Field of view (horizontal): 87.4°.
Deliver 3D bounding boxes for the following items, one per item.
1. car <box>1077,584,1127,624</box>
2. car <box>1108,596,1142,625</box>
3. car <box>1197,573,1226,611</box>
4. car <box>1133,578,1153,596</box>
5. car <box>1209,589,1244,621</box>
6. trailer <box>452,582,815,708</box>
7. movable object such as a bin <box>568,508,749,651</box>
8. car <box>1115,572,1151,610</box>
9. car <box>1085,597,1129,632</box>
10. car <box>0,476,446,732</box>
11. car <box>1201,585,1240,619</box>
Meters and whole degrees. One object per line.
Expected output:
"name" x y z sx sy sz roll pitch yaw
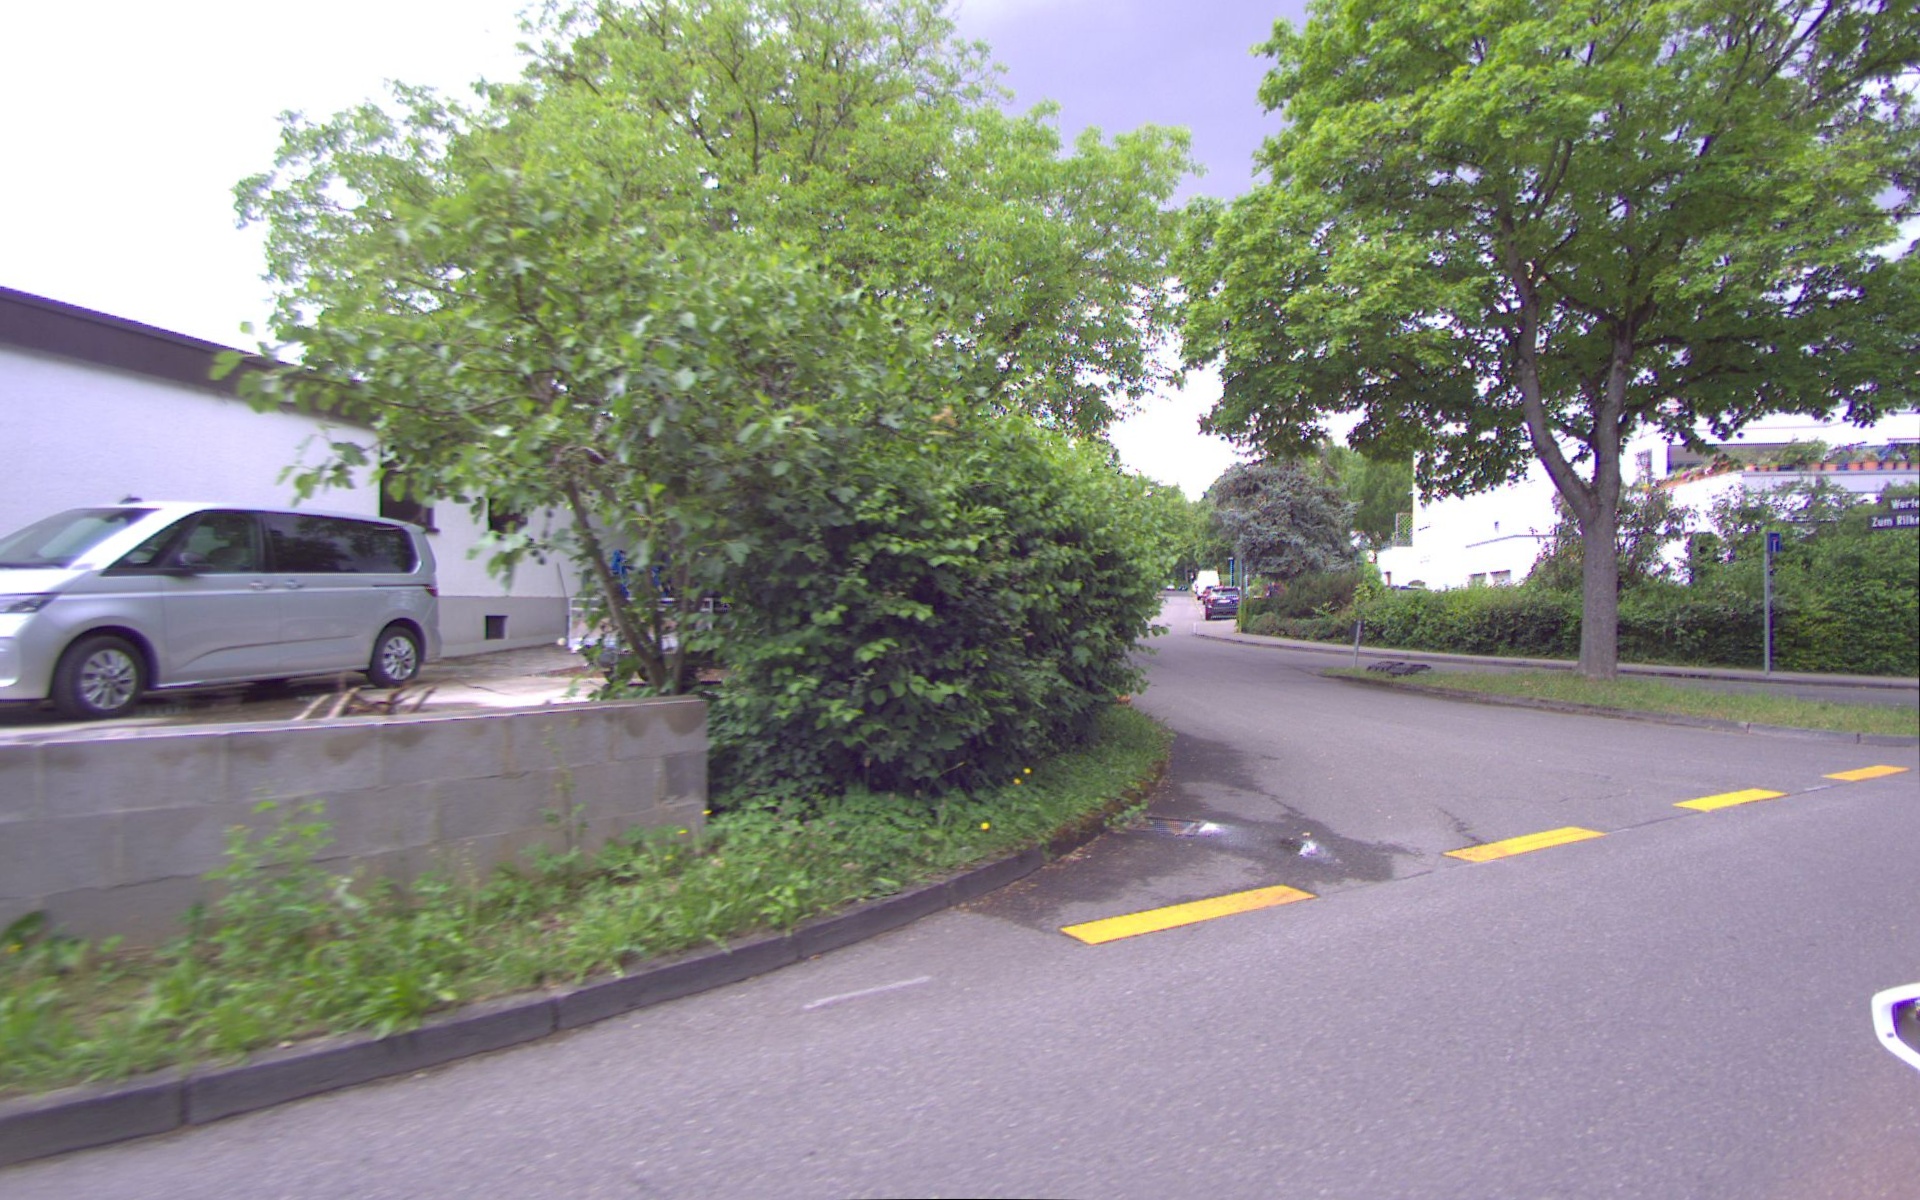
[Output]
"car" 6.746 0.219 47.351 1.724 1.739 4.002 1 -2 16
"car" 11.002 0.734 66.941 1.724 1.739 4.002 1 -2 16
"car" 22.725 -0.668 90.939 2.403 3.038 6.877 1 -2 14
"car" 19.912 -1.379 108.974 1.724 1.739 4.002 1 -2 16
"car" 14.367 0.297 54.205 1.724 1.574 4.003 1 -2 14
"trailer" -3.219 0.388 10.867 1.959 1.061 4.002 1 0 13
"movable object such as a bin" -5.237 -0.395 17.796 1.959 2.312 2.784 1 2 12
"car" 12.712 -0.612 73.605 1.991 2.473 4.901 1 -2 16
"car" 7.809 0.799 53.018 1.724 1.739 4.002 1 -2 16
"car" -7.434 -0.030 9.502 1.989 1.829 4.931 1 1 10
"car" 12.597 0.085 48.631 1.724 1.575 4.002 1 1 14
